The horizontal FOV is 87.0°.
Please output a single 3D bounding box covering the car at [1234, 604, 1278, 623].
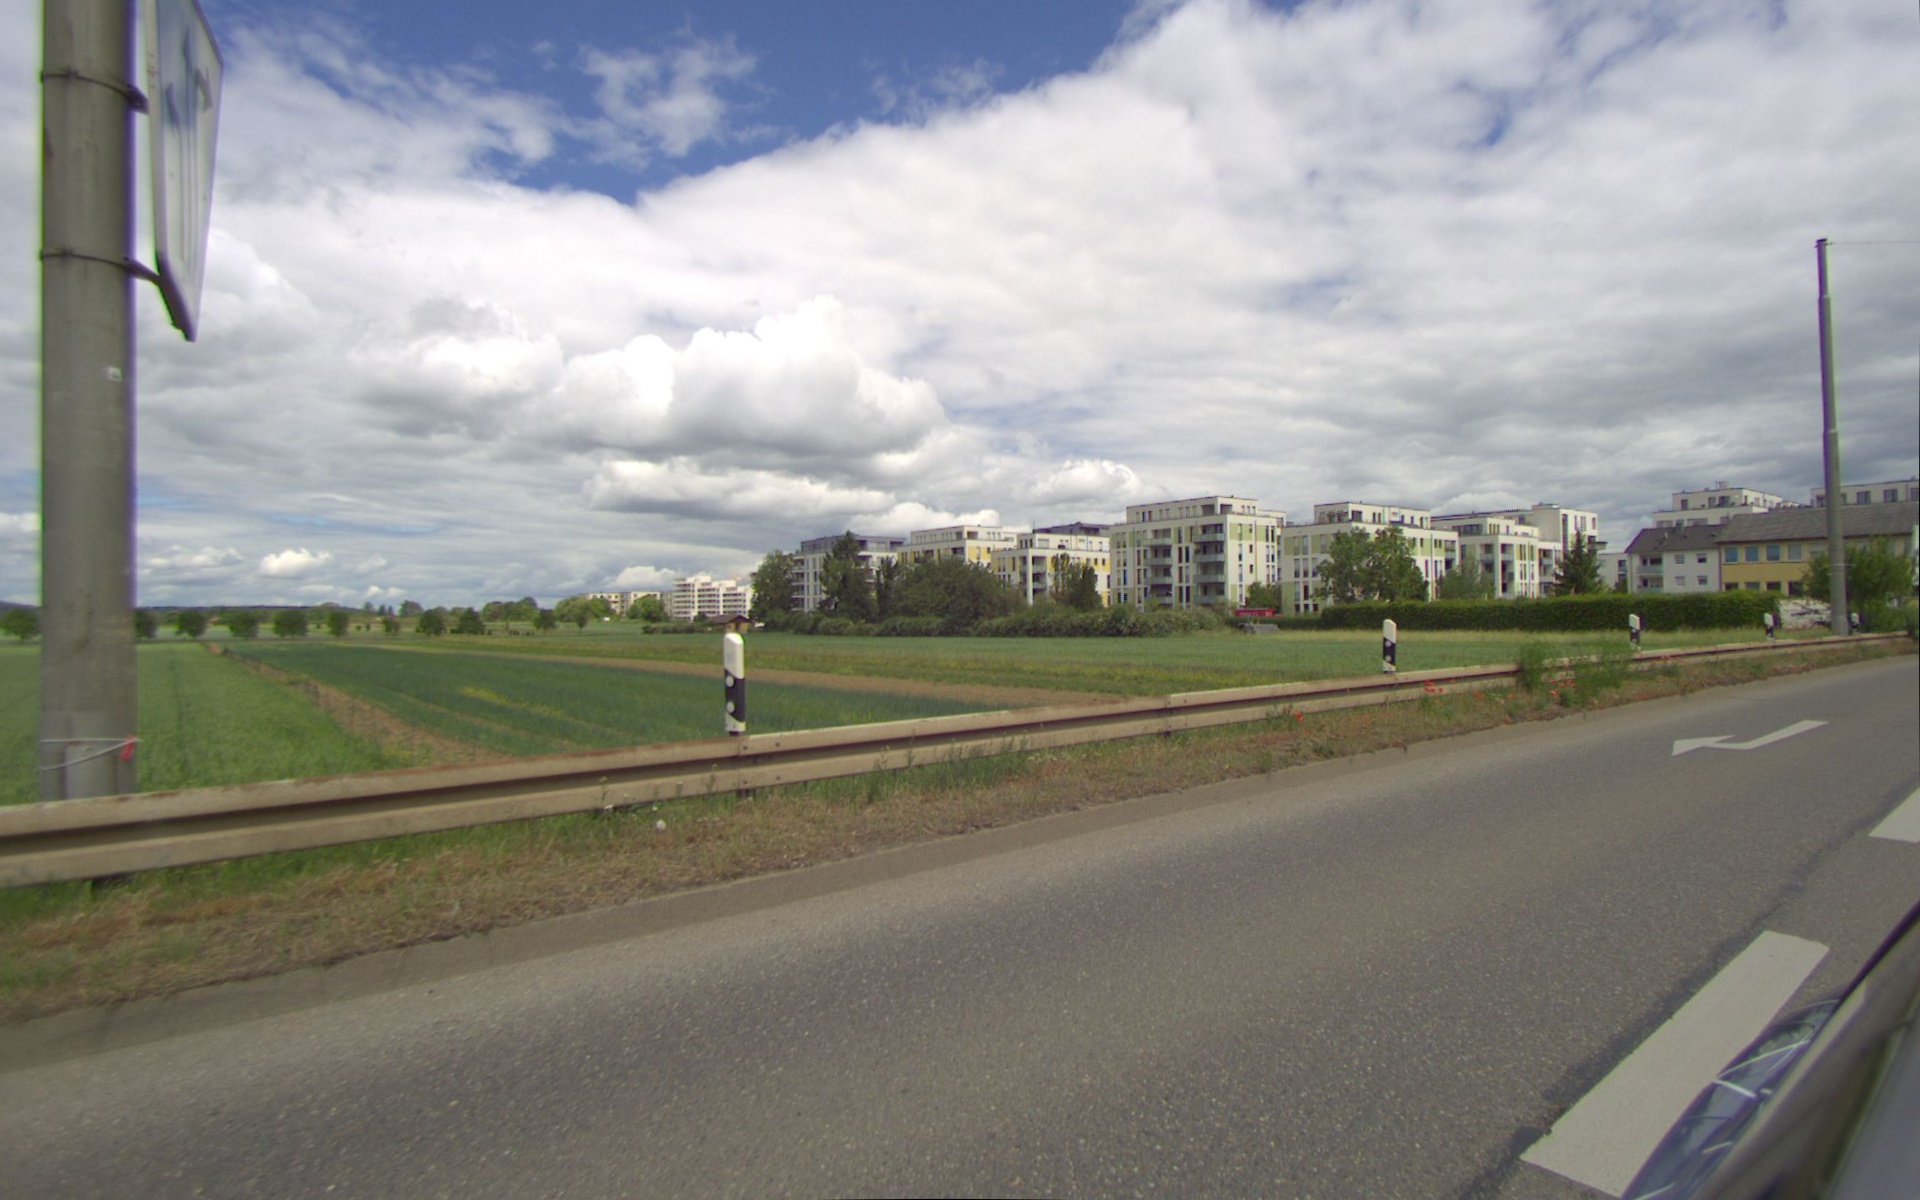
[{"bbox_3d":[33.845,1.537,115.748,1.966,2.039,4.432,-1,0,-41],"label":"car"}]
